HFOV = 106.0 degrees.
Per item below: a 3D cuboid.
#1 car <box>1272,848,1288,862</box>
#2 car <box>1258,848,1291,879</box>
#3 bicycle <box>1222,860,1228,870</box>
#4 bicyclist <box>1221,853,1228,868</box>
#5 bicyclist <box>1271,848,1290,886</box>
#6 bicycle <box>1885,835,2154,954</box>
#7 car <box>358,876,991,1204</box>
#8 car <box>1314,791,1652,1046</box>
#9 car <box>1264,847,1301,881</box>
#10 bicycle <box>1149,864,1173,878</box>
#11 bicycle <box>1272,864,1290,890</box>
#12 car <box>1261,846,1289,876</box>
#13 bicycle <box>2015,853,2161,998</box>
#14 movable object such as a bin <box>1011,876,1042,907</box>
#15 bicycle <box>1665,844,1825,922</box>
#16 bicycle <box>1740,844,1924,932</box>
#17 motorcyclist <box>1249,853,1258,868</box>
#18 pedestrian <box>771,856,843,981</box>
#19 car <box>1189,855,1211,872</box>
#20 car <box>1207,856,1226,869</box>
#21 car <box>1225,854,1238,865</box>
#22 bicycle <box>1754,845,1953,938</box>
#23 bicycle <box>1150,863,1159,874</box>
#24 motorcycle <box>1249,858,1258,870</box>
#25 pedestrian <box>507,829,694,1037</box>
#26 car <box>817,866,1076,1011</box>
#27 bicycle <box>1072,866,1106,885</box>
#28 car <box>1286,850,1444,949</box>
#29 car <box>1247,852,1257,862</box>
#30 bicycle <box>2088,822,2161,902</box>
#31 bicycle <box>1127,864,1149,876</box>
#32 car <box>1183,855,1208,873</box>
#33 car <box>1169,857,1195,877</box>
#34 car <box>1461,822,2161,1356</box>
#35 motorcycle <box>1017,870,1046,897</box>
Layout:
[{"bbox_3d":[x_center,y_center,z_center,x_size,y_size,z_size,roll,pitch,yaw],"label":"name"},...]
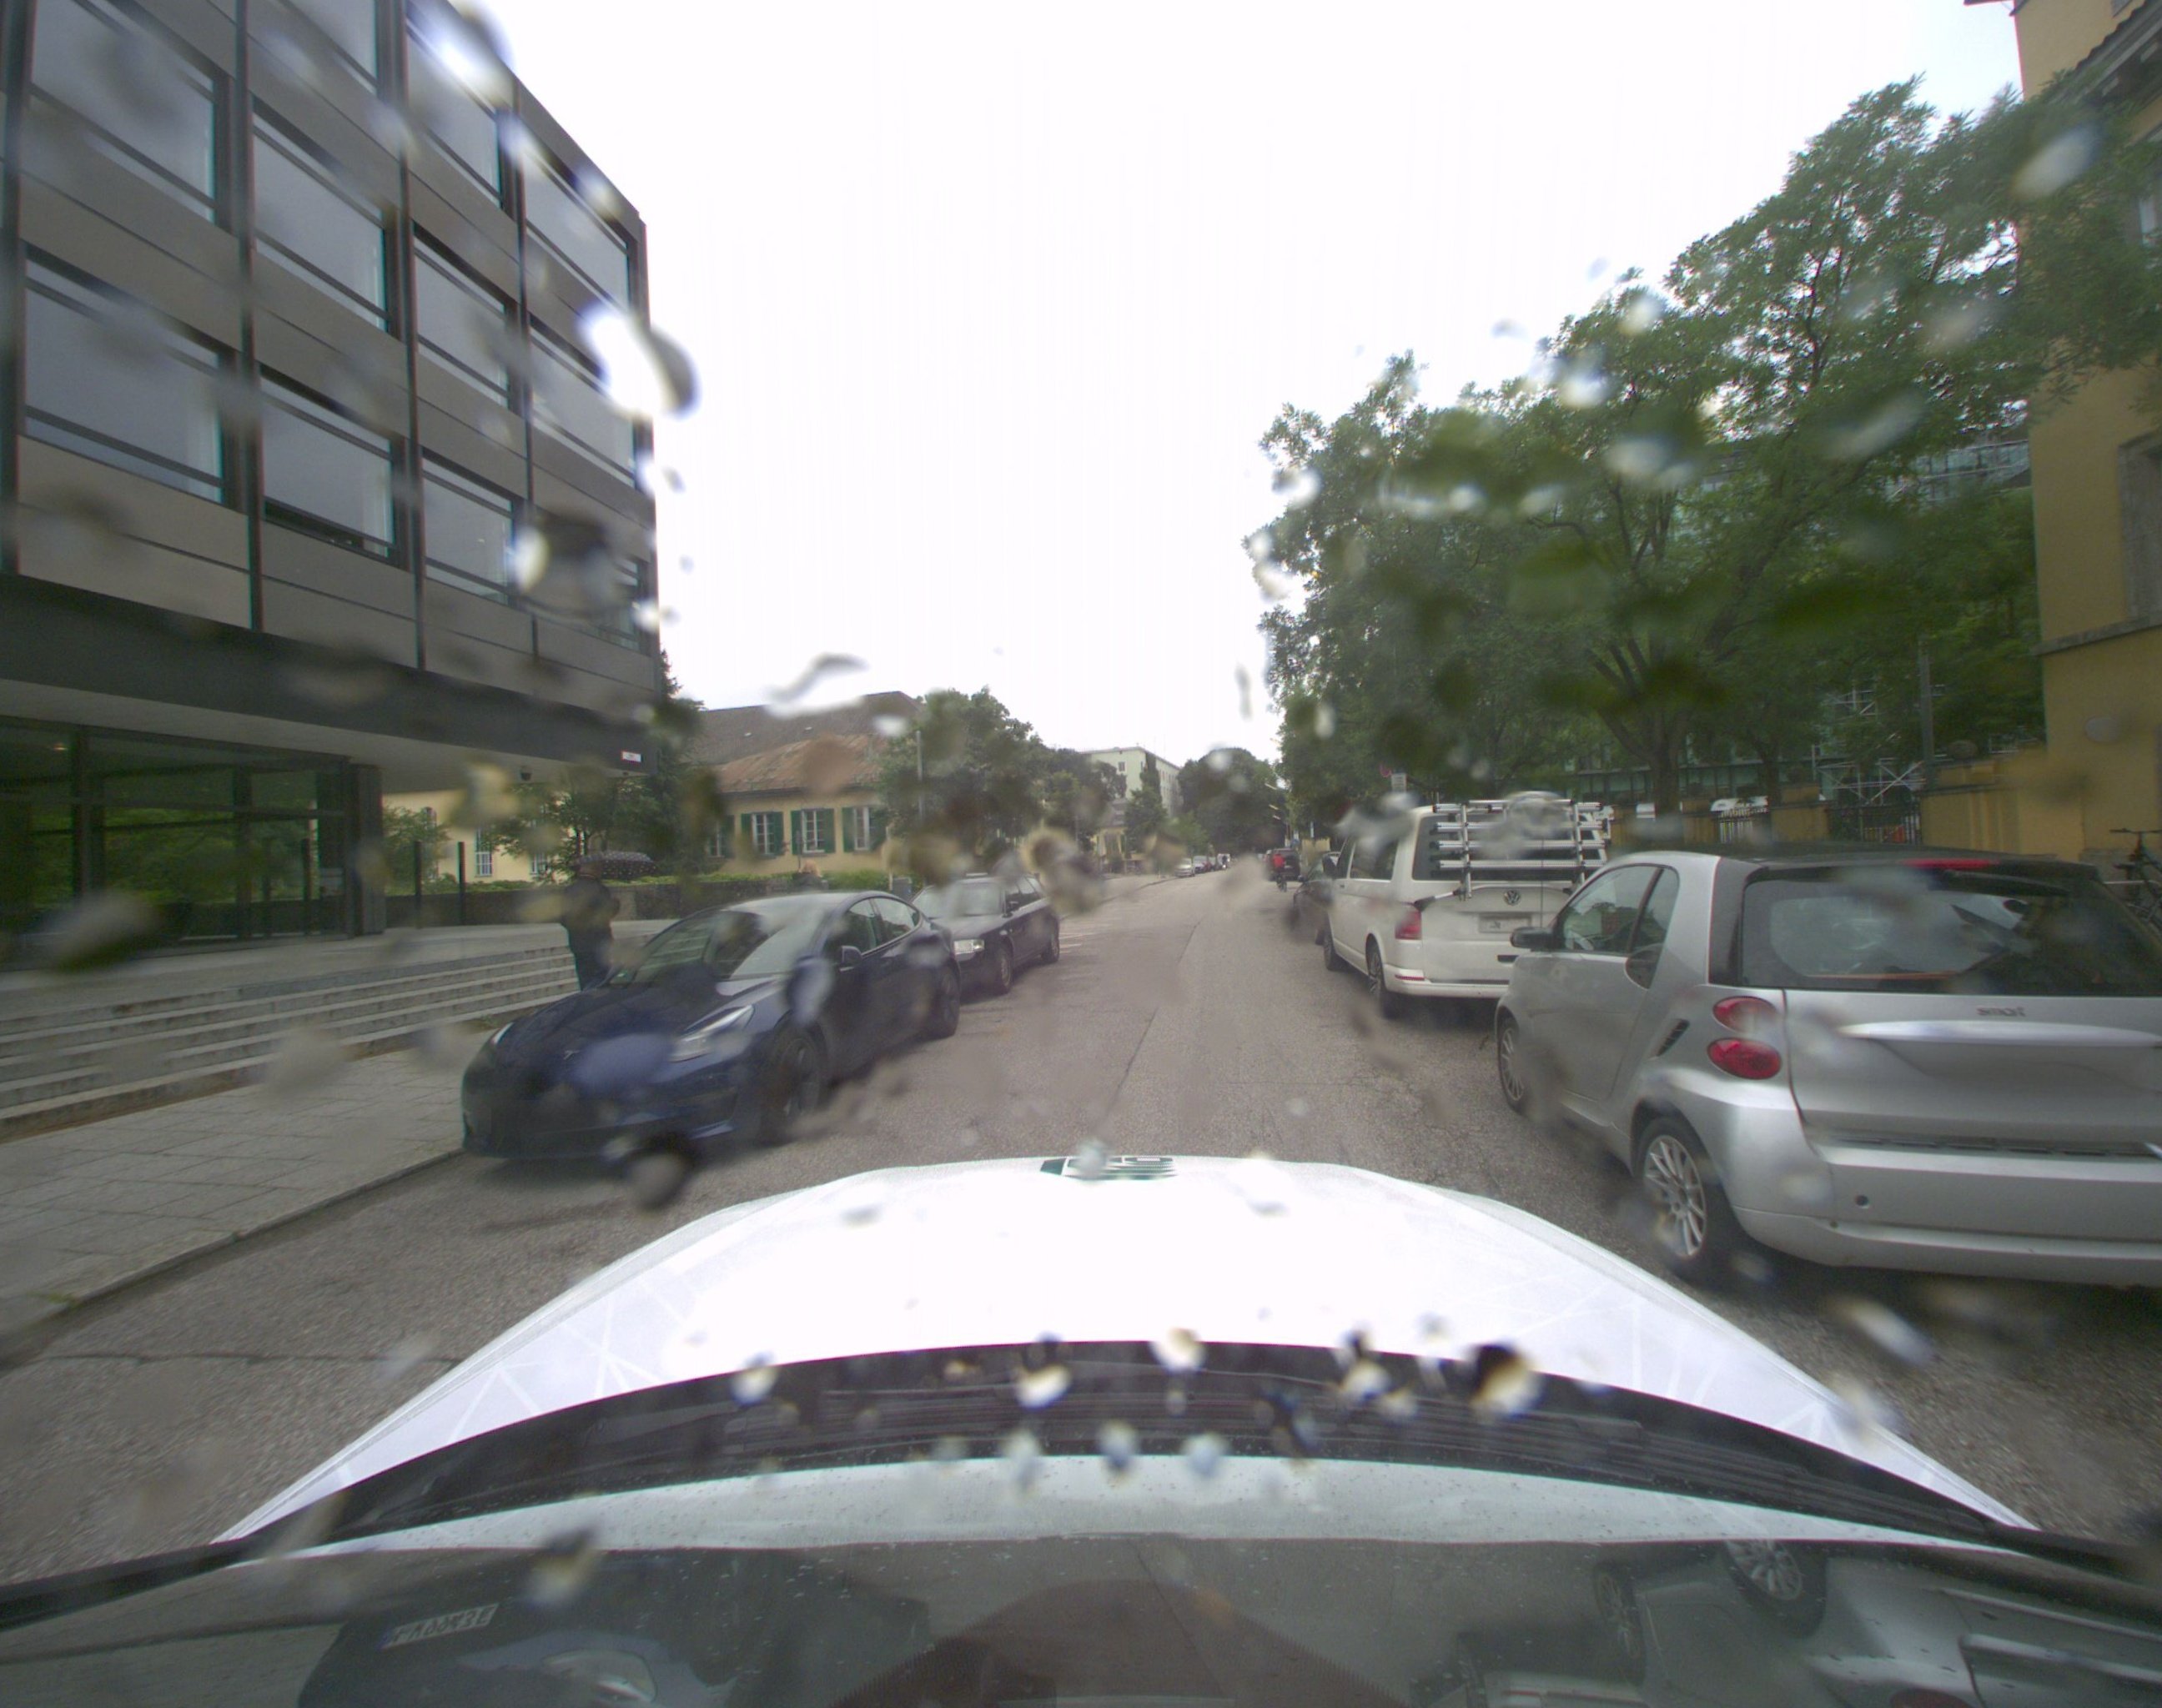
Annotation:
[{"bbox_3d":[29.113,0.134,119.347,1.981,2.060,4.637,-2,0,11],"label":"car"},{"bbox_3d":[12.286,0.556,51.873,1.850,1.794,4.525,-3,0,13],"label":"car"},{"bbox_3d":[15.303,1.156,86.618,0.618,1.004,2.145,-3,0,9],"label":"bicycle"},{"bbox_3d":[15.287,0.667,86.720,0.739,1.576,0.980,-3,-1,9],"label":"bicyclist"},{"bbox_3d":[8.080,0.541,33.054,0.667,1.498,1.098,-3,-2,13],"label":"bicyclist"},{"bbox_3d":[9.822,0.428,8.588,1.919,1.113,0.473,-4,-1,11],"label":"bicycle"},{"bbox_3d":[-2.327,1.003,6.446,1.912,1.439,4.929,-5,-1,8],"label":"car"},{"bbox_3d":[3.837,0.492,8.922,1.834,1.933,5.286,0,0,9],"label":"car"},{"bbox_3d":[11.598,0.541,47.083,1.749,1.823,4.151,-2,0,10],"label":"car"},{"bbox_3d":[6.166,1.284,62.663,0.616,1.004,2.153,0,0,43],"label":"bicycle"},{"bbox_3d":[8.091,0.930,33.010,0.617,1.004,2.147,-3,-2,13],"label":"bicycle"},{"bbox_3d":[13.797,0.466,57.929,1.737,1.943,4.243,-3,0,14],"label":"car"},{"bbox_3d":[9.123,0.554,6.771,1.921,1.113,0.472,-4,-1,6],"label":"bicycle"},{"bbox_3d":[-1.963,1.347,29.652,0.930,1.063,0.842,-2,0,7],"label":"movable object such as a bin"},{"bbox_3d":[10.698,0.463,13.159,2.021,1.113,0.472,-4,-1,6],"label":"bicycle"},{"bbox_3d":[10.697,0.485,11.646,1.919,1.113,0.473,-4,-1,11],"label":"bicycle"},{"bbox_3d":[18.390,0.690,86.856,0.786,1.510,1.153,-3,-2,15],"label":"motorcyclist"},{"bbox_3d":[-4.054,0.929,12.110,0.752,1.749,0.951,-2,-1,-6],"label":"pedestrian"},{"bbox_3d":[12.331,0.989,84.066,1.980,1.603,4.012,-2,-1,11],"label":"car"},{"bbox_3d":[16.896,1.073,101.562,1.979,1.486,4.016,-3,0,14],"label":"car"},{"bbox_3d":[24.462,0.950,132.158,1.798,1.683,4.014,-3,0,12],"label":"car"},{"bbox_3d":[10.297,0.505,10.909,1.919,1.113,0.473,-4,-1,11],"label":"bicycle"},{"bbox_3d":[7.145,1.381,79.012,0.617,1.004,1.625,-2,-2,16],"label":"bicycle"},{"bbox_3d":[18.395,1.075,86.830,0.655,1.206,2.251,-3,-1,15],"label":"motorcycle"},{"bbox_3d":[-5.175,0.814,8.868,1.128,2.055,1.224,-4,-1,9],"label":"pedestrian"},{"bbox_3d":[-1.575,1.009,11.670,1.981,1.491,4.898,-4,-1,11],"label":"car"},{"bbox_3d":[0.485,1.264,48.483,1.917,1.099,0.617,-1,0,13],"label":"bicycle"},{"bbox_3d":[4.918,0.689,14.822,1.761,1.490,4.984,0,0,8],"label":"car"},{"bbox_3d":[35.387,0.558,168.645,1.980,2.099,4.014,0,0,12],"label":"car"},{"bbox_3d":[16.197,0.113,11.993,0.539,1.154,1.907,-3,0,9],"label":"bicycle"},{"bbox_3d":[4.701,1.291,67.283,1.616,0.926,0.648,-2,-2,-15],"label":"bicycle"},{"bbox_3d":[11.183,0.960,79.207,1.980,1.648,4.671,-2,-1,13],"label":"car"},{"bbox_3d":[8.338,1.077,66.884,1.722,1.581,3.801,0,0,13],"label":"car"},{"bbox_3d":[3.074,0.682,3.862,1.595,1.546,2.942,-1,0,10],"label":"car"},{"bbox_3d":[-2.116,1.260,34.716,0.560,1.101,1.822,-1,-1,-26],"label":"motorcycle"}]
